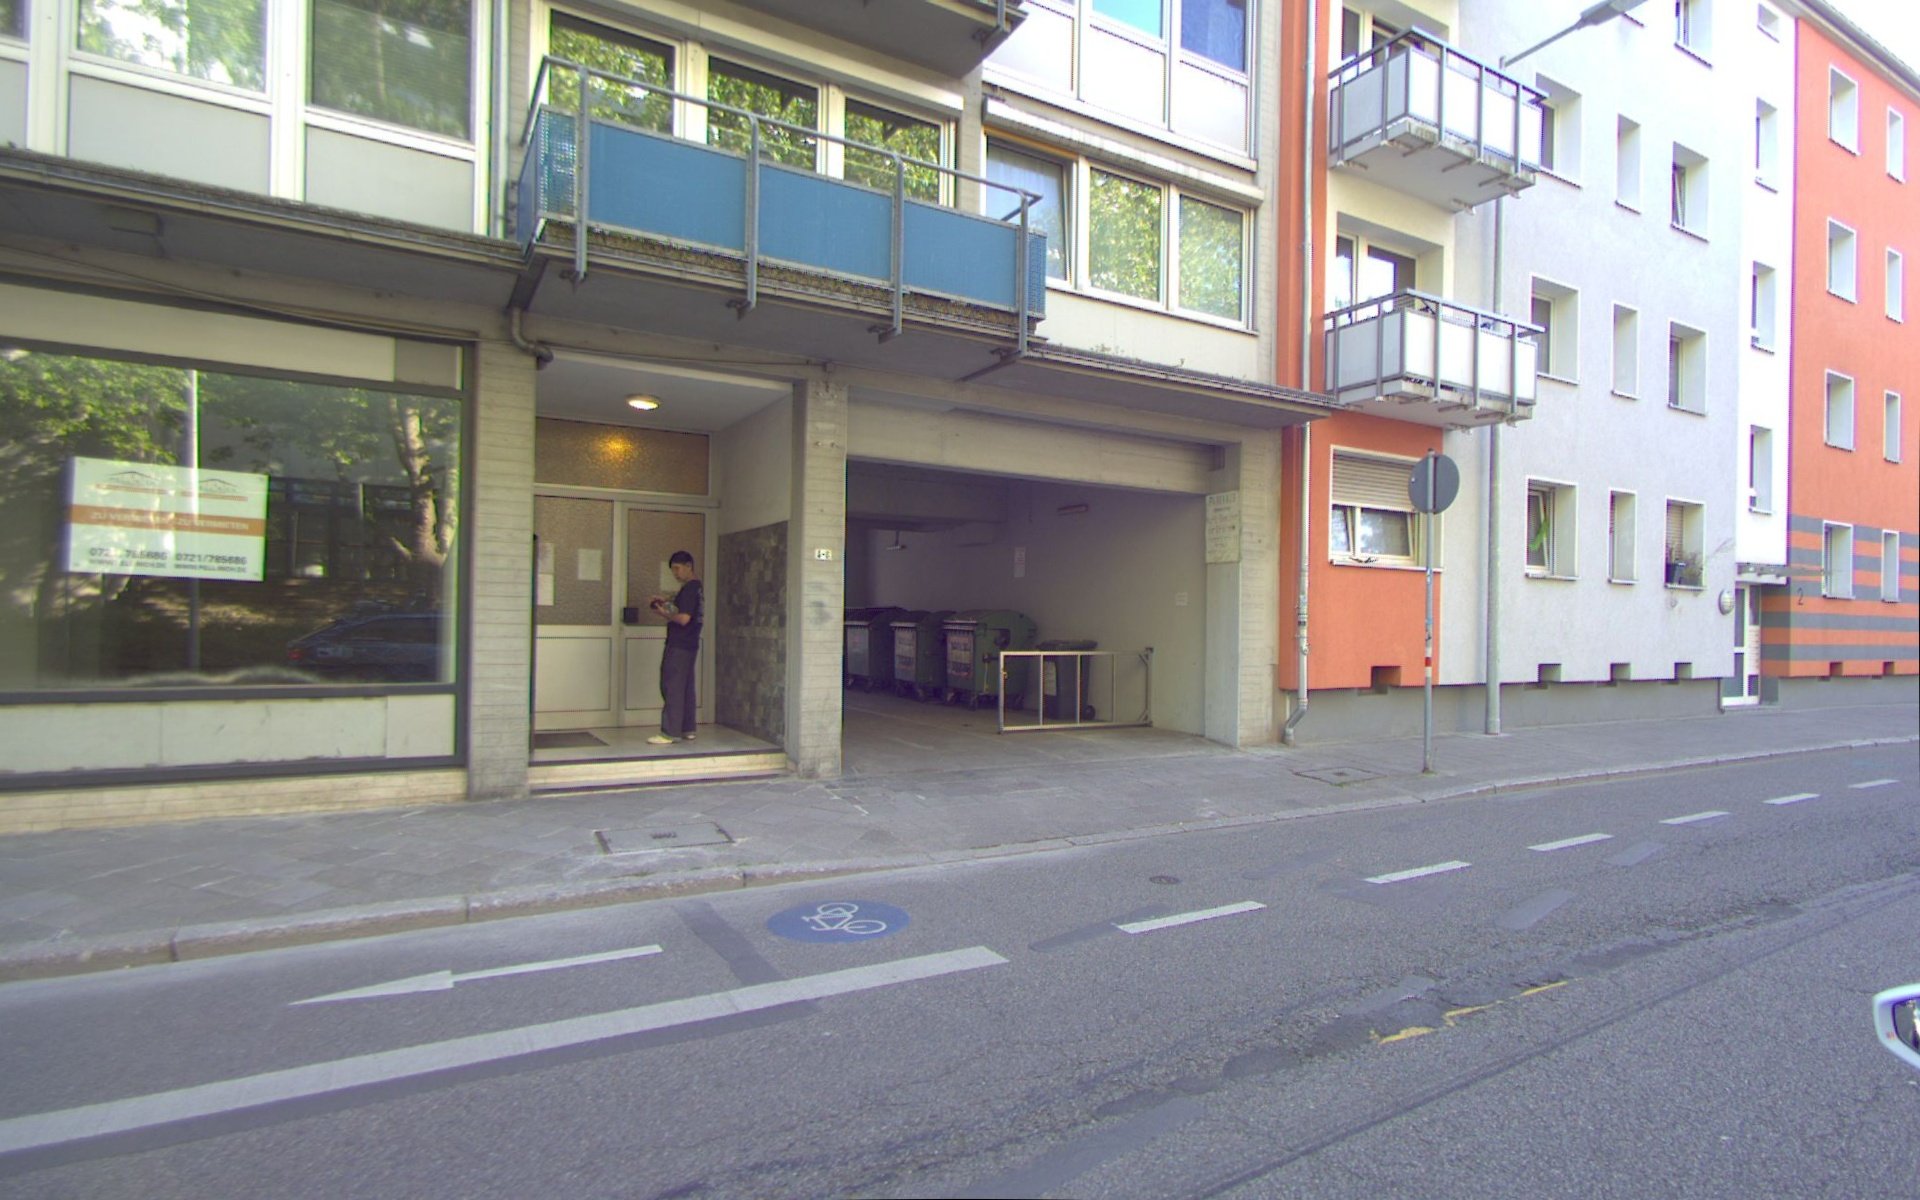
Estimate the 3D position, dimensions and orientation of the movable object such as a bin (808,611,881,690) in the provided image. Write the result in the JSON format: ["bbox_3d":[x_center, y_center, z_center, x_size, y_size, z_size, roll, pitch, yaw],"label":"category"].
[{"bbox_3d":[-2.168,0.930,18.844,1.012,1.409,1.046,1,-1,-31],"label":"movable object such as a bin"}]

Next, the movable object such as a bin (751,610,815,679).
[{"bbox_3d":[-3.755,0.929,21.265,1.010,1.409,1.246,1,-1,-26],"label":"movable object such as a bin"}]

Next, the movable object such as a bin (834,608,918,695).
[{"bbox_3d":[-1.507,0.889,17.814,1.011,1.462,1.318,1,-1,-29],"label":"movable object such as a bin"}]

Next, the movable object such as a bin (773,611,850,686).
[{"bbox_3d":[-2.945,0.928,19.808,1.014,1.409,1.264,1,-1,-37],"label":"movable object such as a bin"}]

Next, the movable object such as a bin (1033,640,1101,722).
[{"bbox_3d":[1.450,1.085,13.638,0.704,1.054,0.583,1,-1,-30],"label":"movable object such as a bin"}]

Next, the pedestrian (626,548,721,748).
[{"bbox_3d":[-2.624,0.425,9.228,0.518,1.764,0.630,1,0,27],"label":"pedestrian"}]

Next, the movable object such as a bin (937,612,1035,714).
[{"bbox_3d":[0.367,0.907,14.981,1.009,1.438,1.321,1,-1,-23],"label":"movable object such as a bin"}]

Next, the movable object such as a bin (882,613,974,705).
[{"bbox_3d":[-0.535,0.920,16.297,1.011,1.409,1.319,1,-1,-27],"label":"movable object such as a bin"}]
